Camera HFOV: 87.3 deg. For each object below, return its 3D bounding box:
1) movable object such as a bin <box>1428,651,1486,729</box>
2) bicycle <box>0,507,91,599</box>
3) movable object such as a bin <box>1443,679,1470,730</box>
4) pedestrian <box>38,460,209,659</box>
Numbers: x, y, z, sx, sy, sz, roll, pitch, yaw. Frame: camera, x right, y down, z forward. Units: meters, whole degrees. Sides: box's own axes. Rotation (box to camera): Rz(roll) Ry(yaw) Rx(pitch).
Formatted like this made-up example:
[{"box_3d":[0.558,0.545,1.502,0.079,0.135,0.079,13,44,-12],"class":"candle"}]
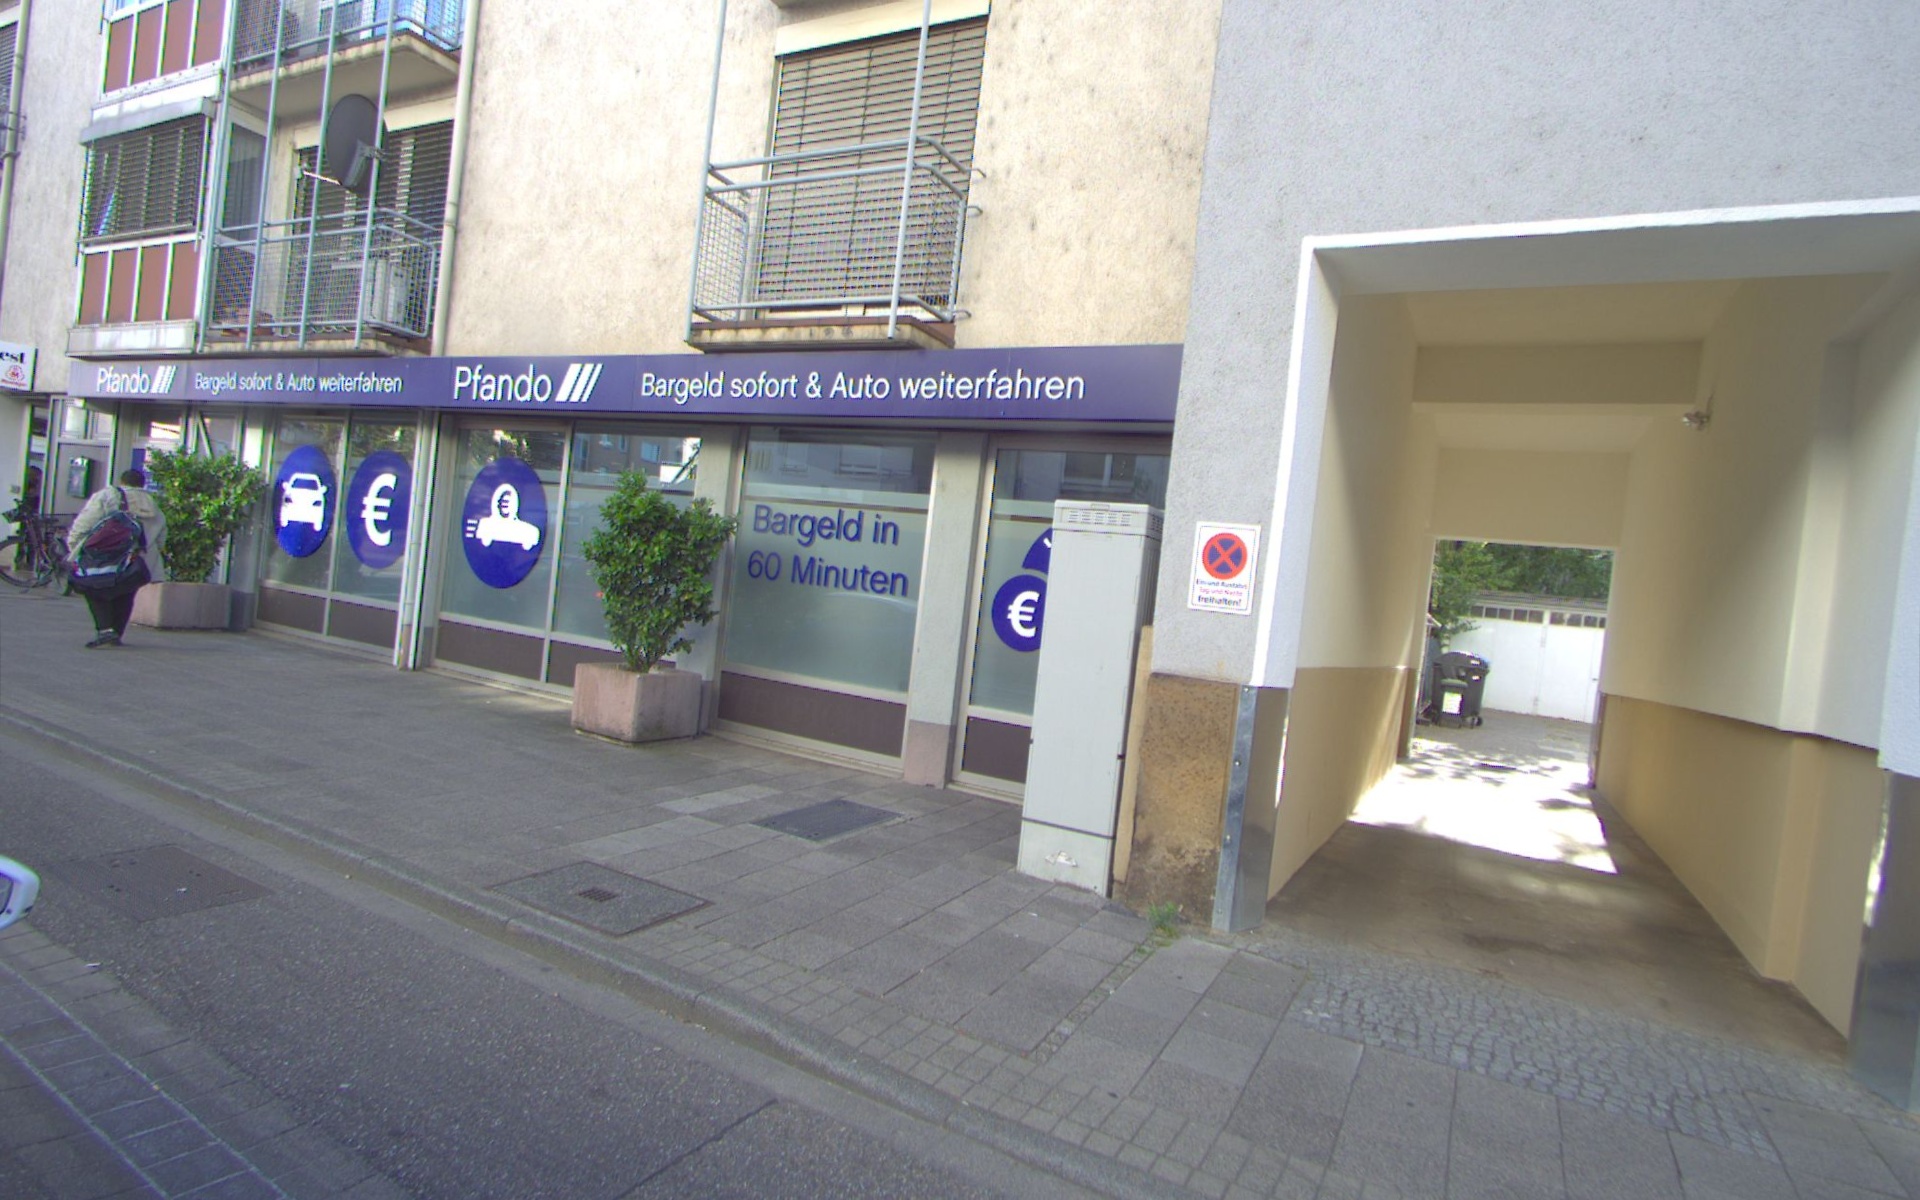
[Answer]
[{"box_3d":[9.928,1.785,20.100,0.873,1.411,0.758,7,2,28],"class":"movable object such as a bin"},{"box_3d":[-11.839,-0.622,12.853,1.678,1.010,0.543,6,-1,32],"class":"bicycle"},{"box_3d":[9.590,2.012,19.419,0.365,0.920,0.420,7,2,28],"class":"movable object such as a bin"},{"box_3d":[-7.398,-0.346,8.913,0.738,1.611,0.827,6,-1,31],"class":"pedestrian"}]
